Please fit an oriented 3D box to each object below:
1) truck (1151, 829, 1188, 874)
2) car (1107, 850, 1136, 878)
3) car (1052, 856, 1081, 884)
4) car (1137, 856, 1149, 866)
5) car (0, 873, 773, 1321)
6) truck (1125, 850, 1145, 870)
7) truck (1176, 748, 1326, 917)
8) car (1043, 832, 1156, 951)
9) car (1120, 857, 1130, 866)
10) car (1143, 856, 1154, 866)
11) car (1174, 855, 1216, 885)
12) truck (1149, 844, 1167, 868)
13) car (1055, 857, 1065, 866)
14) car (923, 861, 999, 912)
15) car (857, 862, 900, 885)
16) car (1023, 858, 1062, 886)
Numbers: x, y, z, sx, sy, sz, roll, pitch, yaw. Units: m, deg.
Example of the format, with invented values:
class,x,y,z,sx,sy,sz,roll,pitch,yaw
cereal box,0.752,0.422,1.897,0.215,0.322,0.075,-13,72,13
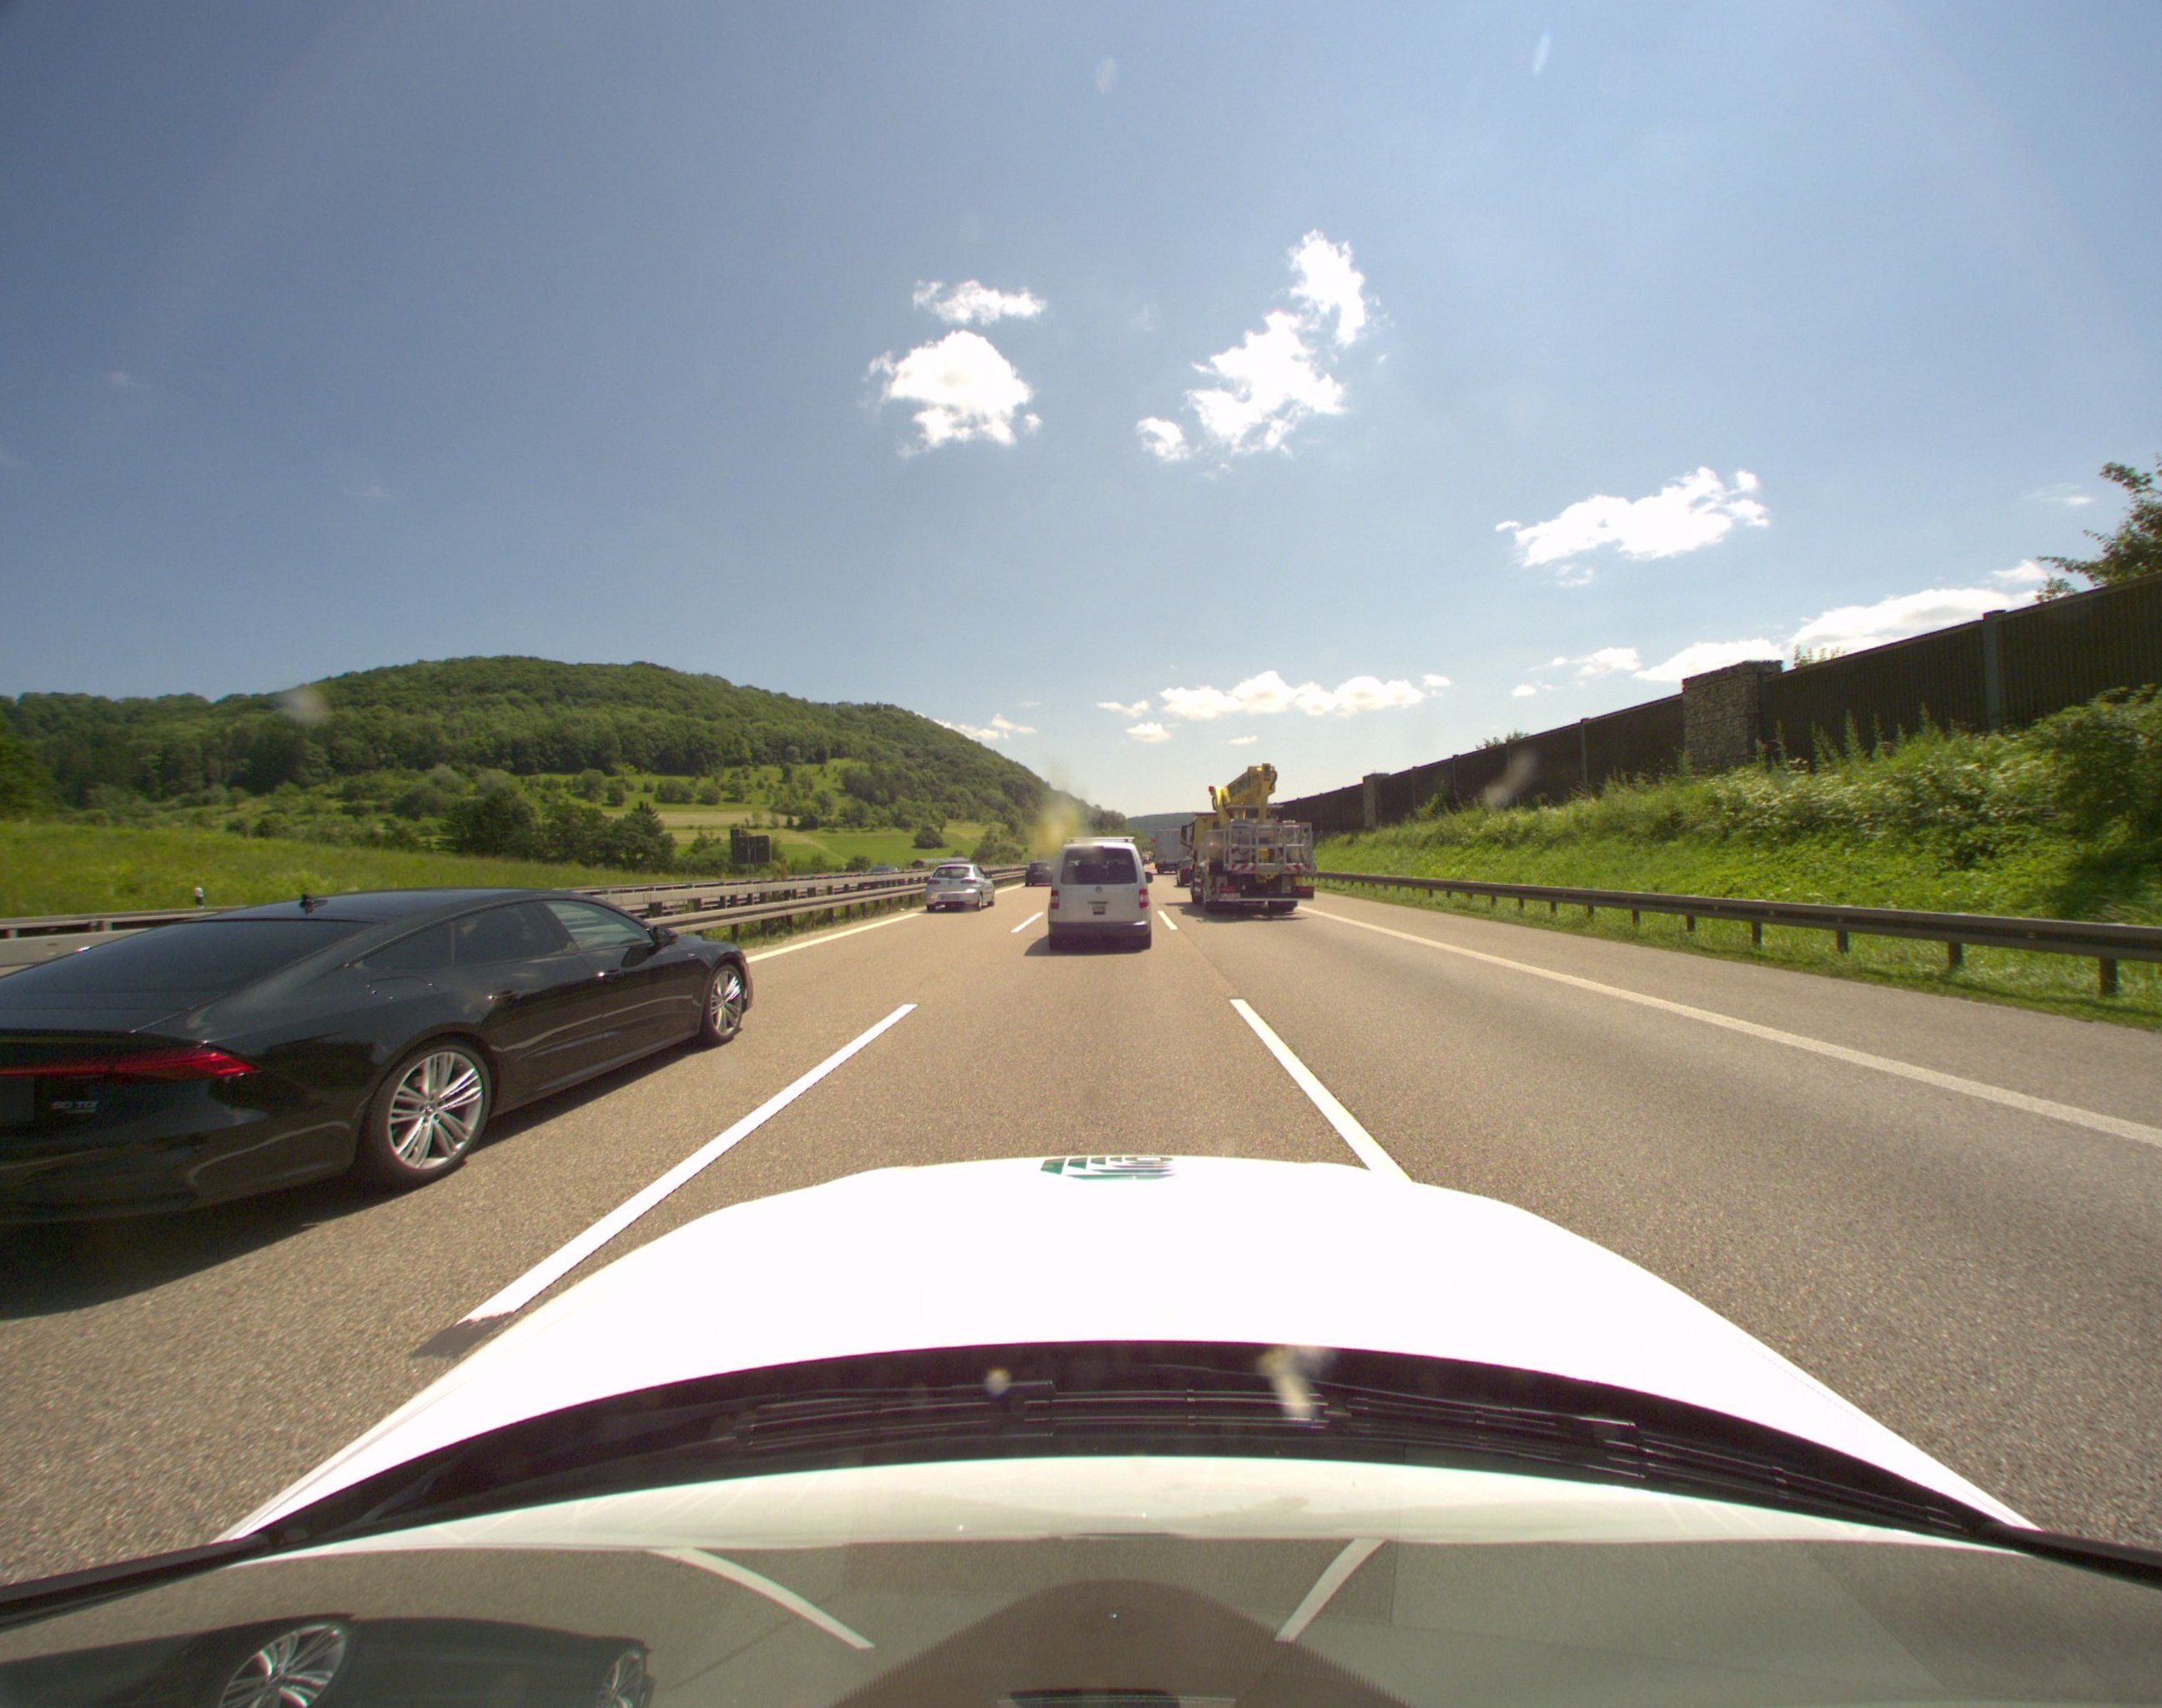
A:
class,x,y,z,sx,sy,sz,roll,pitch,yaw
truck,7.922,-0.195,73.851,2.928,3.823,8.242,-1,-1,3
car,2.891,0.708,58.982,1.986,1.975,4.001,-1,0,2
car,-1.062,1.183,63.089,1.986,2.013,4.001,-2,0,2
car,10.499,1.203,138.821,1.985,1.806,4.003,-1,-1,3
car,-3.918,0.887,5.223,1.793,1.390,4.972,-1,0,2
truck,7.179,0.780,108.352,2.381,2.541,5.941,-1,0,2
truck,4.545,-0.496,23.695,2.694,3.942,8.725,-1,0,2
car,0.355,0.610,15.016,1.749,1.868,4.001,-1,0,2
car,8.685,1.461,160.841,1.985,1.806,4.003,-1,-1,3
car,13.235,1.363,158.909,1.985,1.806,4.003,-1,-1,3
car,5.874,0.822,42.332,1.779,1.458,3.772,-1,0,2
truck,10.689,0.313,112.927,1.986,3.251,6.802,-1,-1,2
car,-4.792,1.788,188.135,2.052,1.941,4.664,-1,0,3
car,-3.714,0.964,25.796,1.689,1.445,3.864,-1,0,2
car,-13.190,1.264,53.195,1.684,1.368,3.743,-1,0,2
car,-2.186,1.019,47.291,1.918,1.499,4.001,-1,0,2
